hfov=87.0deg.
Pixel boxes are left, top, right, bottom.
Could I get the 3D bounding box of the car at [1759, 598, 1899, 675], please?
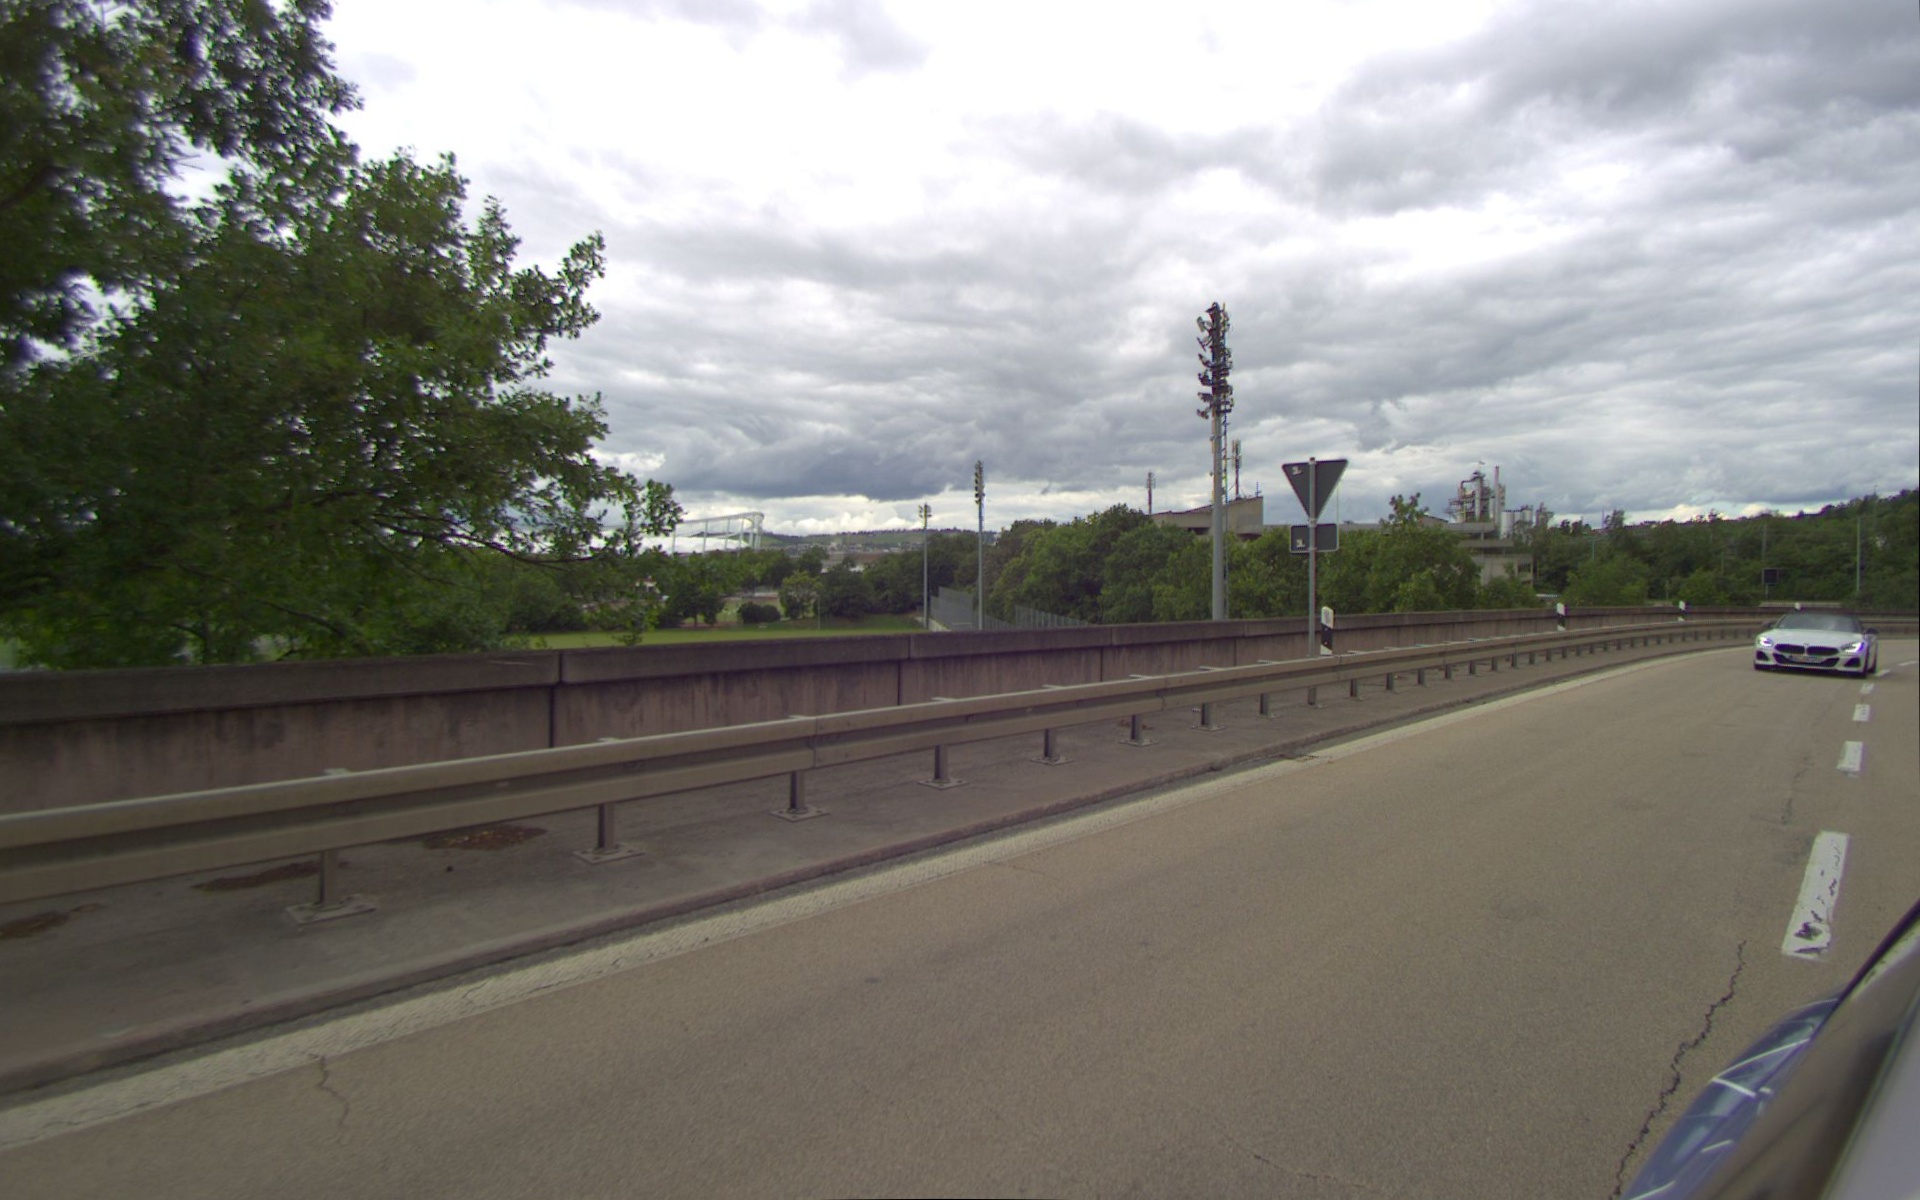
[{"bbox_3d":[19.159,0.708,22.235,4.745,1.361,1.860,-1,4,-44],"label":"car"}]
